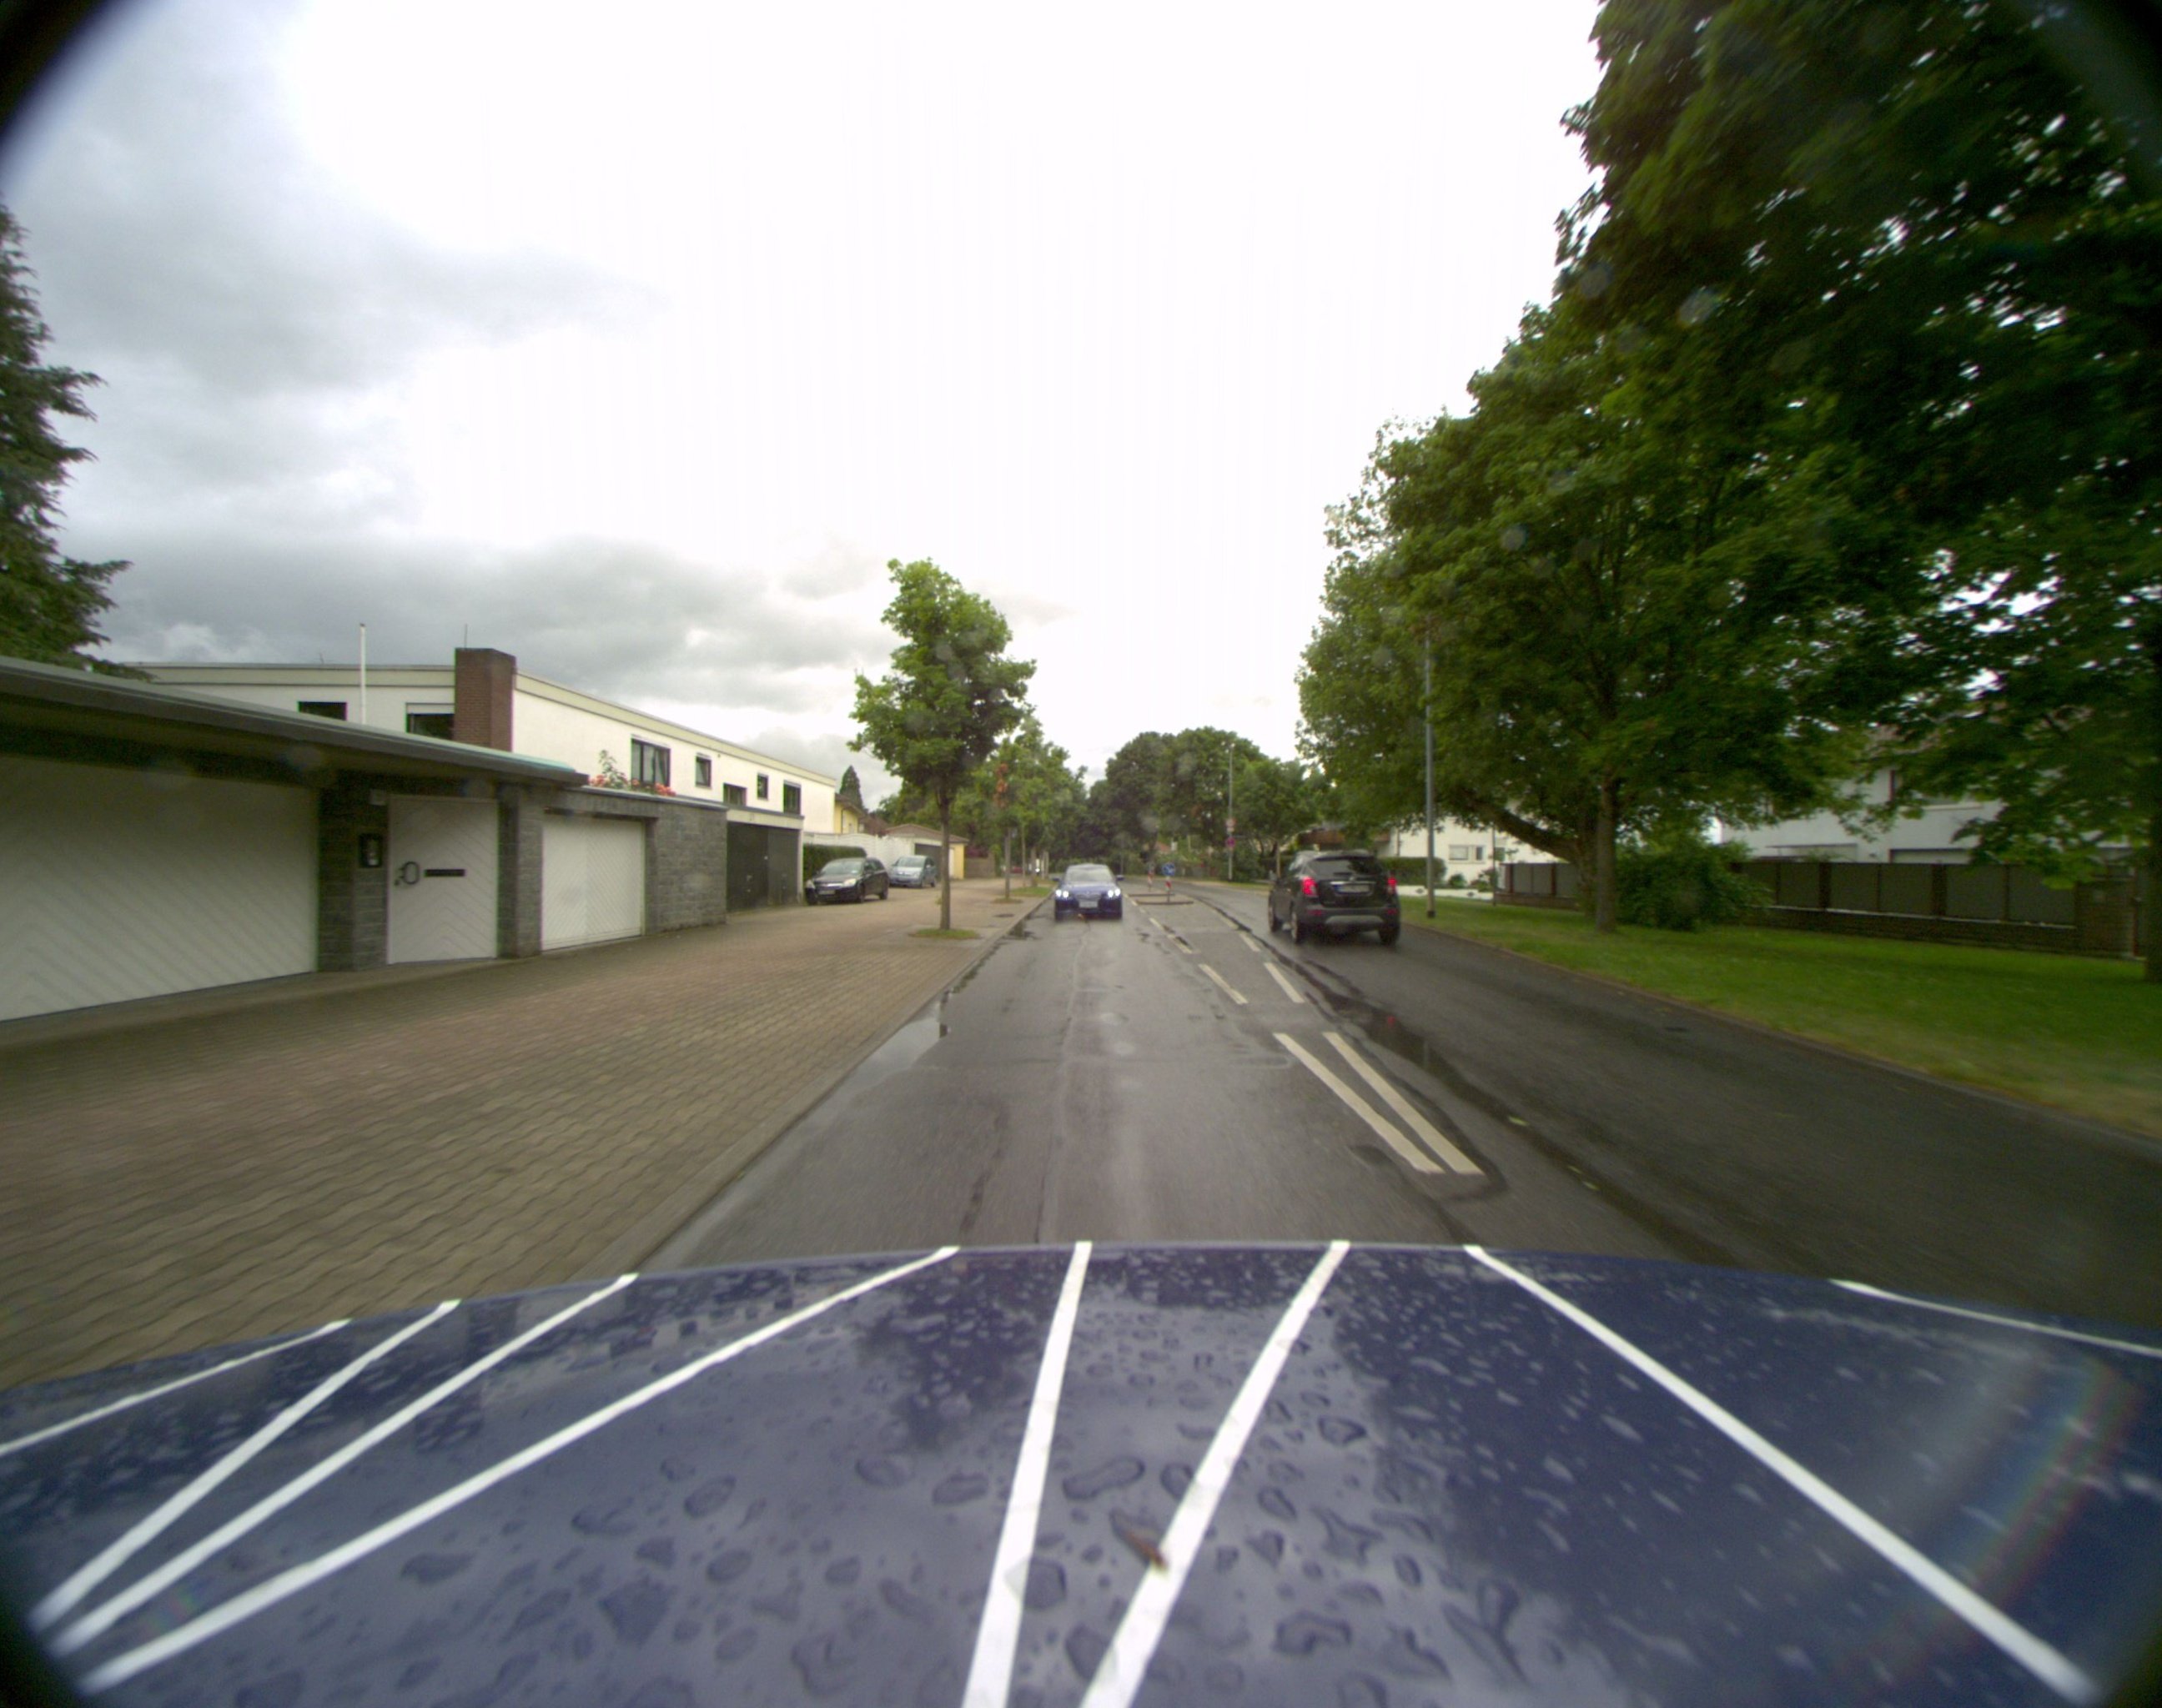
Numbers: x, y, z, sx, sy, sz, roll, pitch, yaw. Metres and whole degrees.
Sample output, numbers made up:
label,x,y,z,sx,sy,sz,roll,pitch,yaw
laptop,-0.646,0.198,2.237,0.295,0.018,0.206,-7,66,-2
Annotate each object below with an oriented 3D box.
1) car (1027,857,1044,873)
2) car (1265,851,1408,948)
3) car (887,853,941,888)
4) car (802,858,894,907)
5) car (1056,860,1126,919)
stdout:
label,x,y,z,sx,sy,sz,roll,pitch,yaw
car,-6.139,1.470,102.203,1.999,2.002,3.997,-2,1,-6
car,4.702,0.747,14.577,1.713,1.588,4.173,0,0,6
car,-8.265,0.768,37.993,1.700,1.553,4.000,-2,1,1
car,-7.566,0.878,25.037,1.666,1.414,4.000,-2,0,1
car,0.298,0.951,21.894,1.815,1.459,3.975,0,0,1
